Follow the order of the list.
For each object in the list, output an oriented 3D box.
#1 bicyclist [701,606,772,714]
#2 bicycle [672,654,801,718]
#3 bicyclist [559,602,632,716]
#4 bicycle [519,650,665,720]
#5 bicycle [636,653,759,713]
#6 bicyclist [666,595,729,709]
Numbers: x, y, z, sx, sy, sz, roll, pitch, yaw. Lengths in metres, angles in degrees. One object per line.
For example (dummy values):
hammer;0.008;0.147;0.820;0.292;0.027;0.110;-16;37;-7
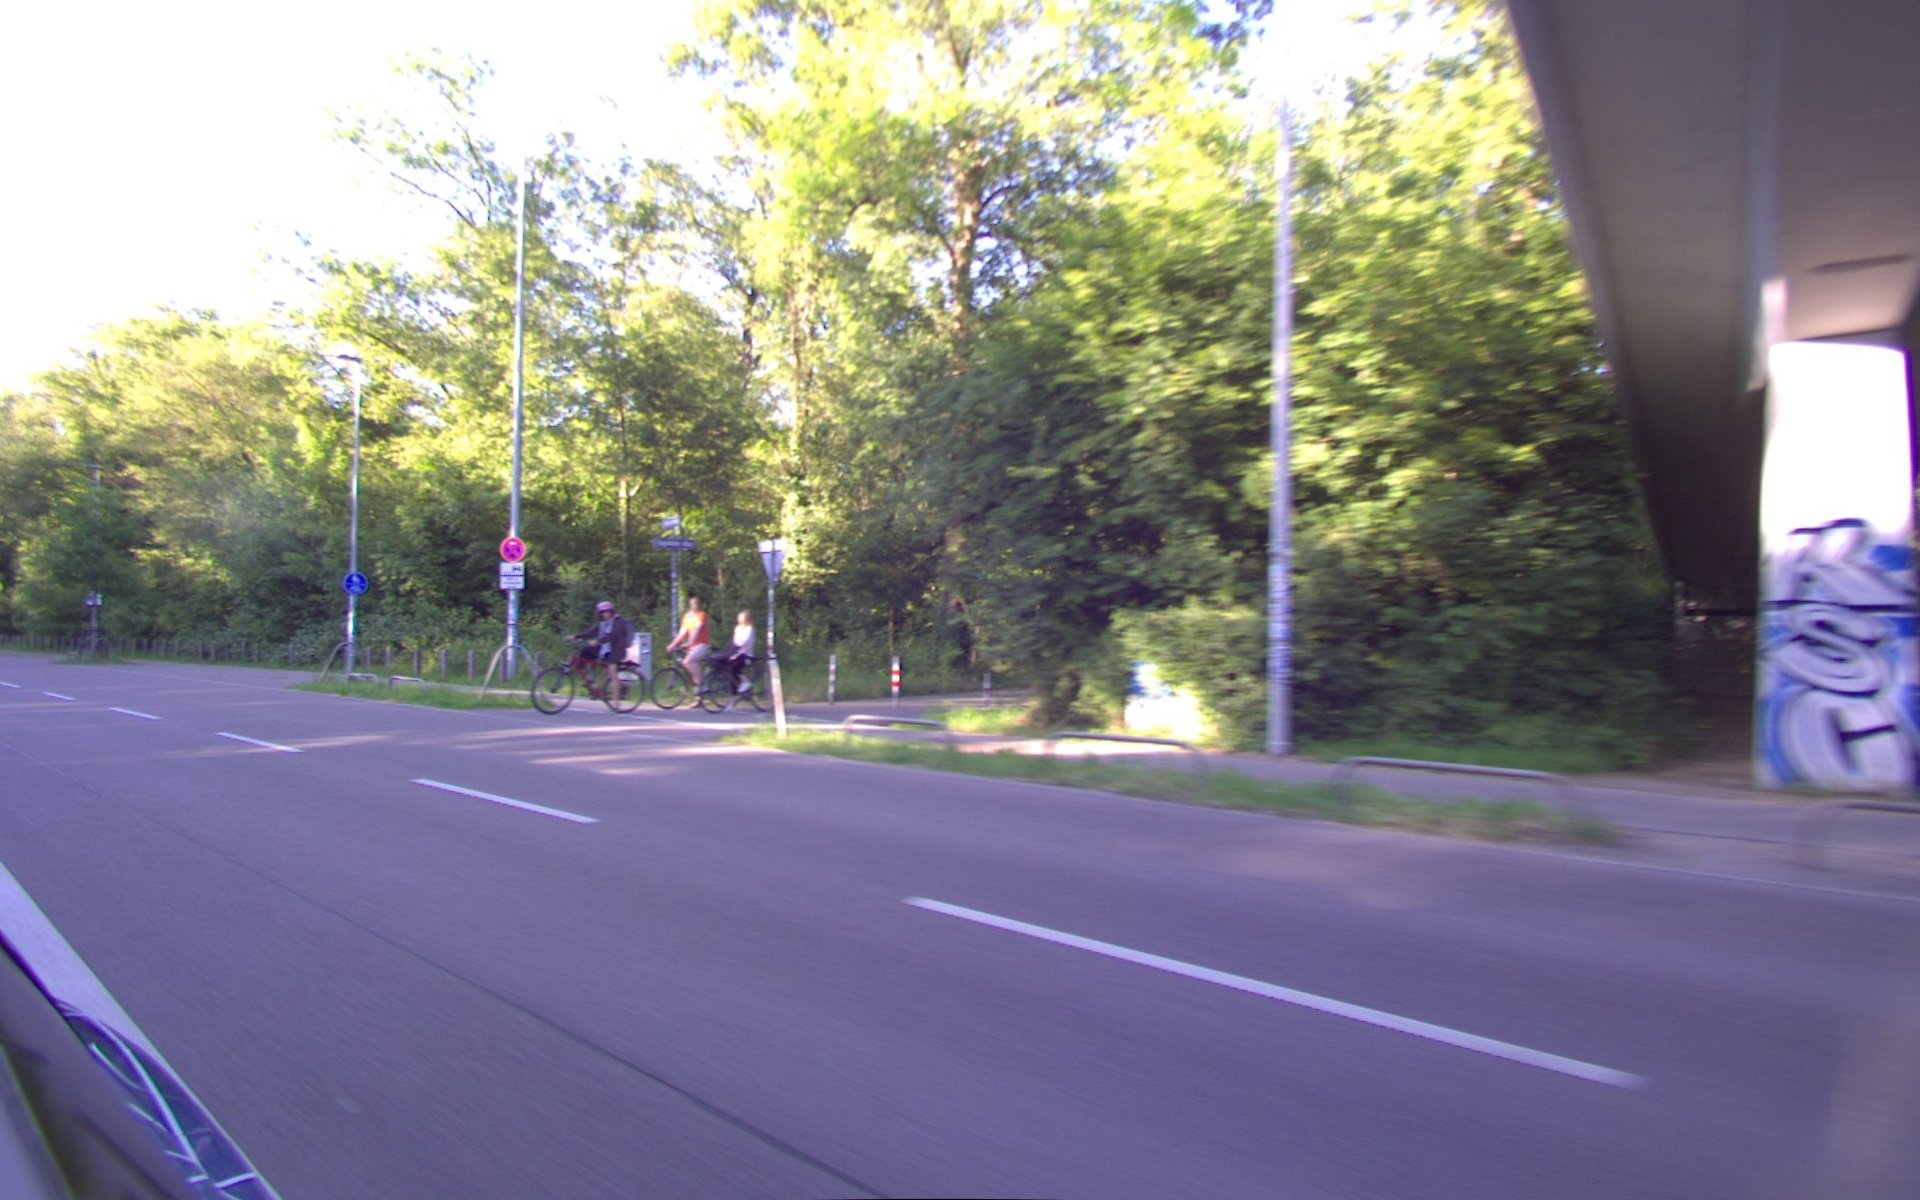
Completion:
bicyclist;-3.685;0.957;16.644;0.785;1.710;0.947;1;-2;-41
bicycle;-3.657;1.383;16.642;1.903;0.941;0.826;1;-2;-41
bicyclist;-5.523;0.873;15.306;0.785;1.656;0.842;0;-2;-41
bicycle;-5.537;1.252;15.292;1.903;0.941;0.826;1;-2;-41
bicycle;-4.537;1.415;17.598;1.903;0.941;0.826;2;-2;-41
bicyclist;-4.562;0.891;17.581;0.785;1.915;0.818;1;-2;-41
